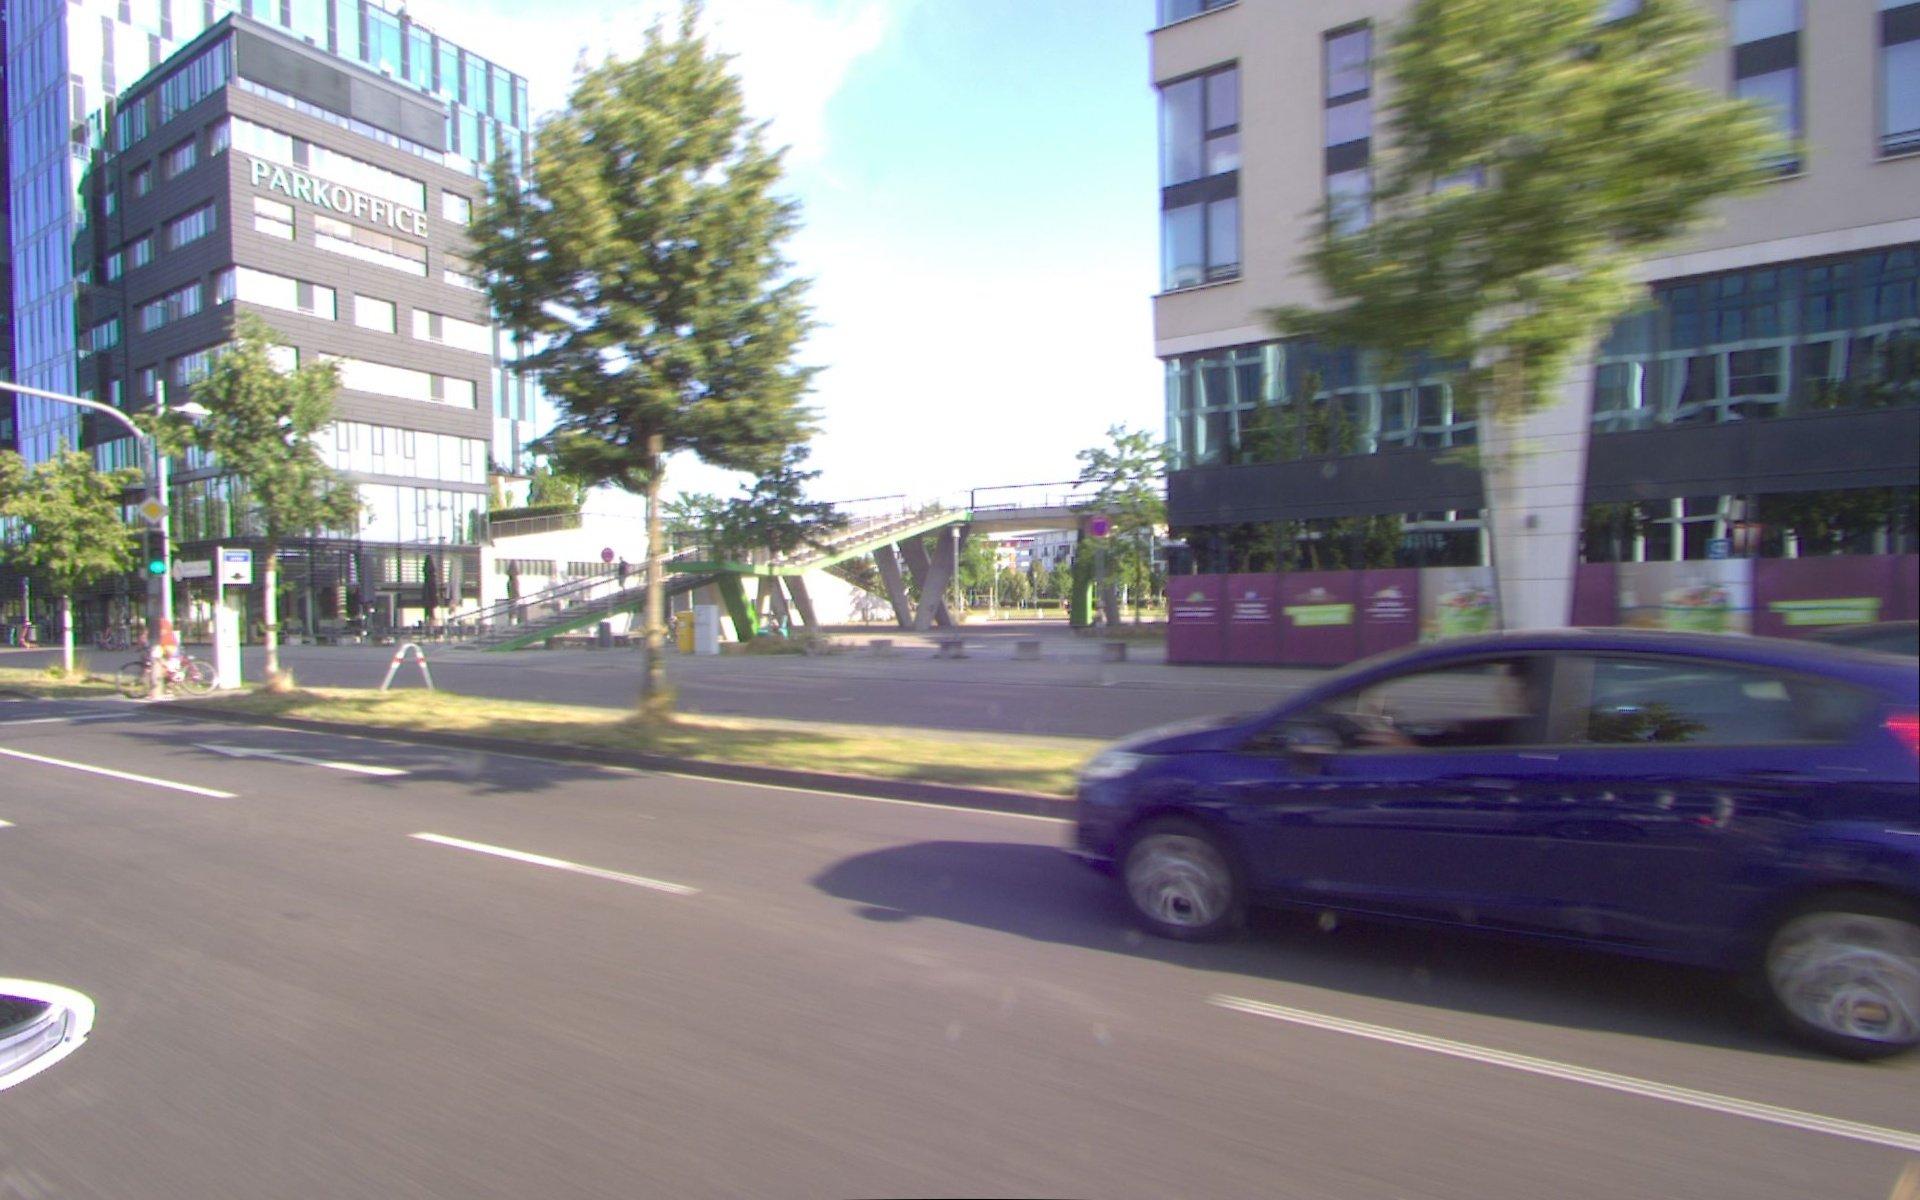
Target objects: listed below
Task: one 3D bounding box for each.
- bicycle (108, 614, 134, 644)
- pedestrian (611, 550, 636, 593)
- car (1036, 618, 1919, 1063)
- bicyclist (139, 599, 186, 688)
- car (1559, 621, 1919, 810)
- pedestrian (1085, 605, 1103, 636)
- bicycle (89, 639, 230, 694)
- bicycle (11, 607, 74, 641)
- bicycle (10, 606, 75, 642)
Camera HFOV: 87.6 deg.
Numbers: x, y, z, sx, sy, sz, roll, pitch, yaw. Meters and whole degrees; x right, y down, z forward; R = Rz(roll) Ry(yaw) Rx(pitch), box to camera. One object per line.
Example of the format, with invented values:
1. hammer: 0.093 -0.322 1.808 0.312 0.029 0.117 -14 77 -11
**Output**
1. bicycle: -38.372 1.345 45.804 1.868 1.363 0.372 -2 -2 33
2. pedestrian: -13.844 -1.156 41.165 0.689 1.713 0.779 1 -2 -45
3. car: 2.419 0.824 4.663 3.851 1.442 1.557 0 -1 32
4. bicyclist: -15.848 0.866 19.901 0.533 1.728 0.574 -1 -1 31
5. car: 7.285 0.874 8.142 4.099 1.388 1.604 -1 -2 33
6. pedestrian: 5.804 0.888 43.407 0.573 1.310 0.595 -1 -1 32
7. bicycle: -15.848 1.287 19.897 0.563 1.025 2.133 -1 -2 28
8. bicycle: -48.801 1.289 53.293 0.548 1.768 2.423 -1 -2 41
9. bicycle: -49.500 1.299 54.048 0.563 1.881 2.552 -1 -2 41
